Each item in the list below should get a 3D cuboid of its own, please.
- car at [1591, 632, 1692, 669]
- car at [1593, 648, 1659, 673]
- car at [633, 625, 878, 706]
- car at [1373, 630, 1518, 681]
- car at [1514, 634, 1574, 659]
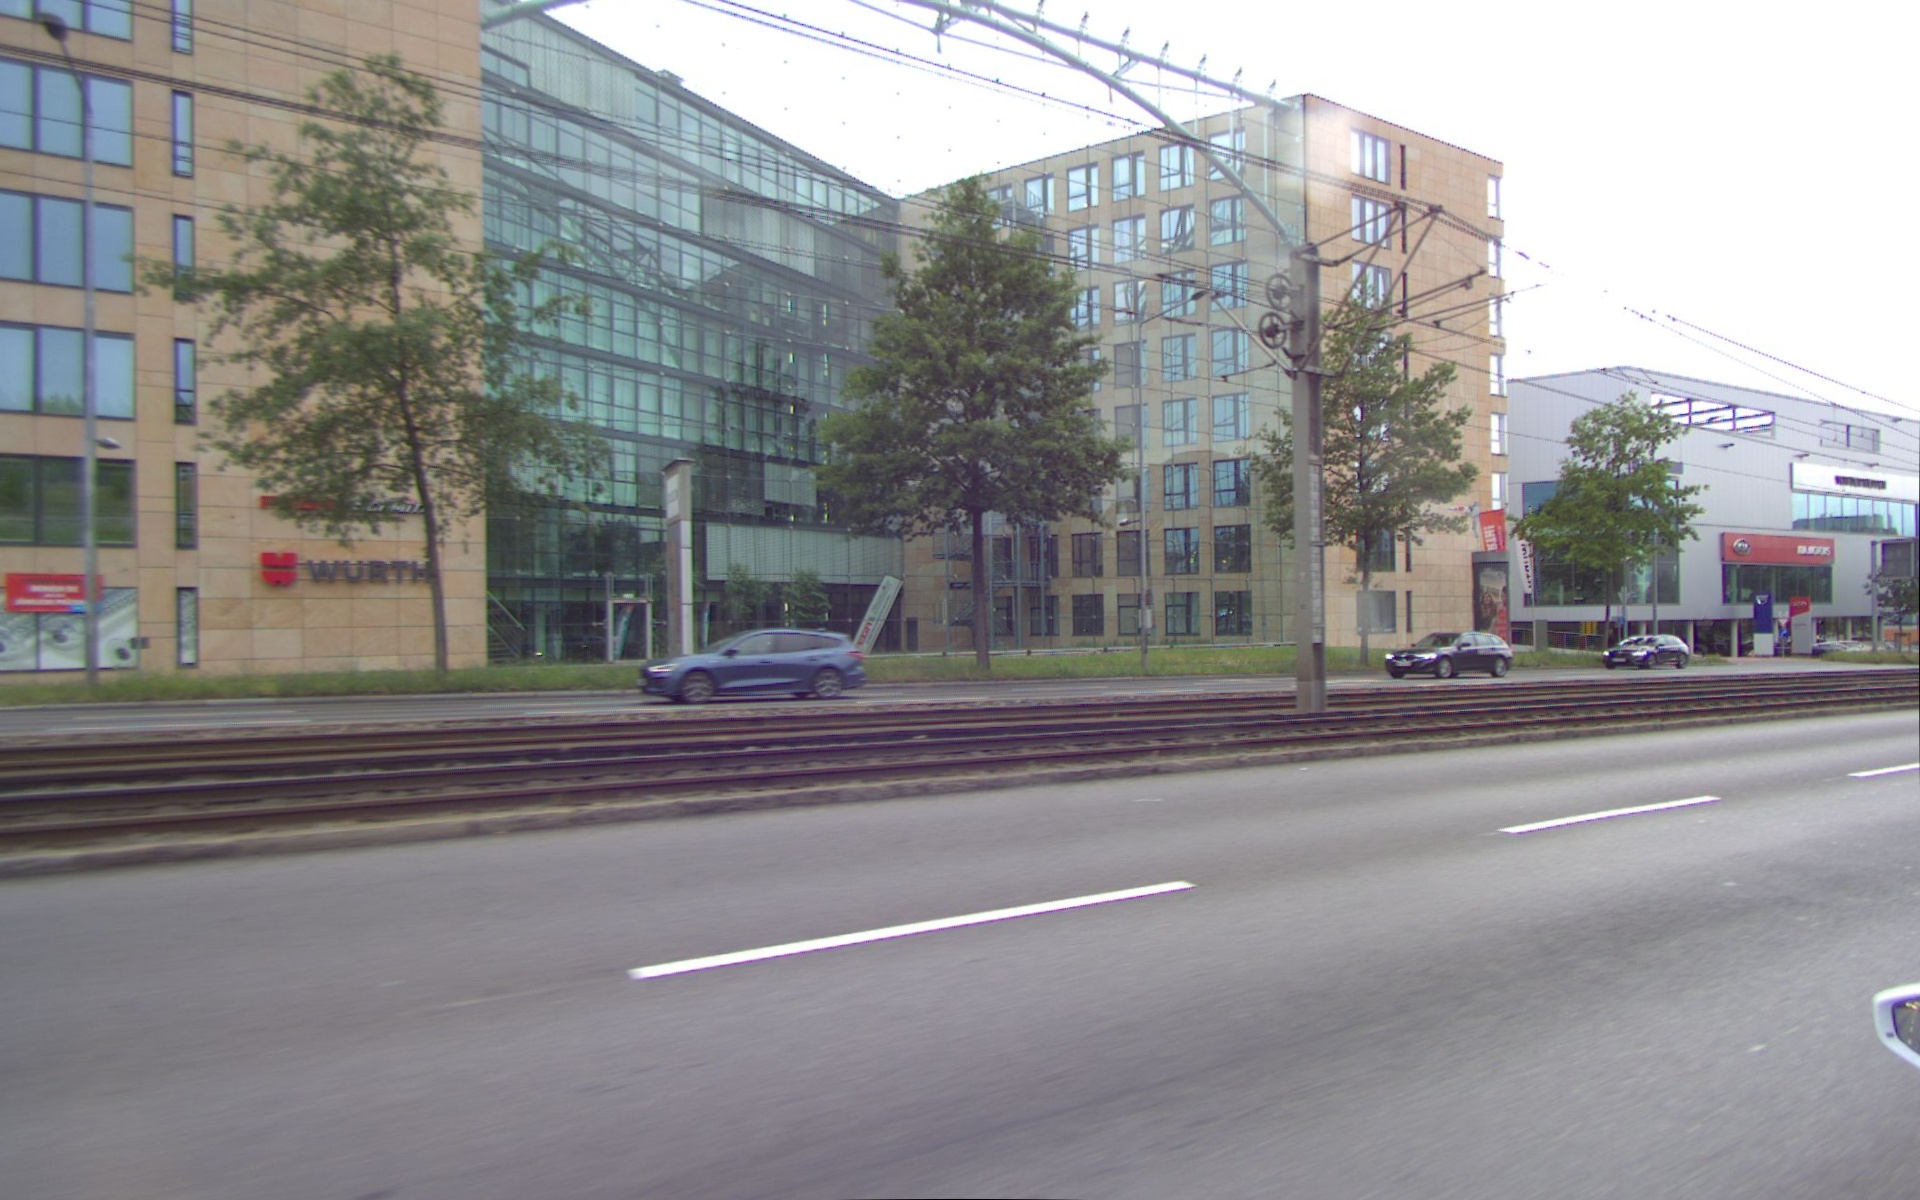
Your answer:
[{"bbox_3d":[29.464,2.170,43.405,4.378,1.505,1.833,1,-4,-30],"label":"car"},{"bbox_3d":[48.853,4.441,73.670,4.881,1.748,1.984,2,-1,-30],"label":"car"},{"bbox_3d":[-4.152,1.307,20.595,4.599,1.505,1.833,1,-4,-30],"label":"car"},{"bbox_3d":[15.276,1.729,31.545,4.599,1.505,1.833,1,-4,-30],"label":"car"},{"bbox_3d":[45.761,3.617,78.698,4.885,1.815,1.983,2,-1,-32],"label":"car"}]
